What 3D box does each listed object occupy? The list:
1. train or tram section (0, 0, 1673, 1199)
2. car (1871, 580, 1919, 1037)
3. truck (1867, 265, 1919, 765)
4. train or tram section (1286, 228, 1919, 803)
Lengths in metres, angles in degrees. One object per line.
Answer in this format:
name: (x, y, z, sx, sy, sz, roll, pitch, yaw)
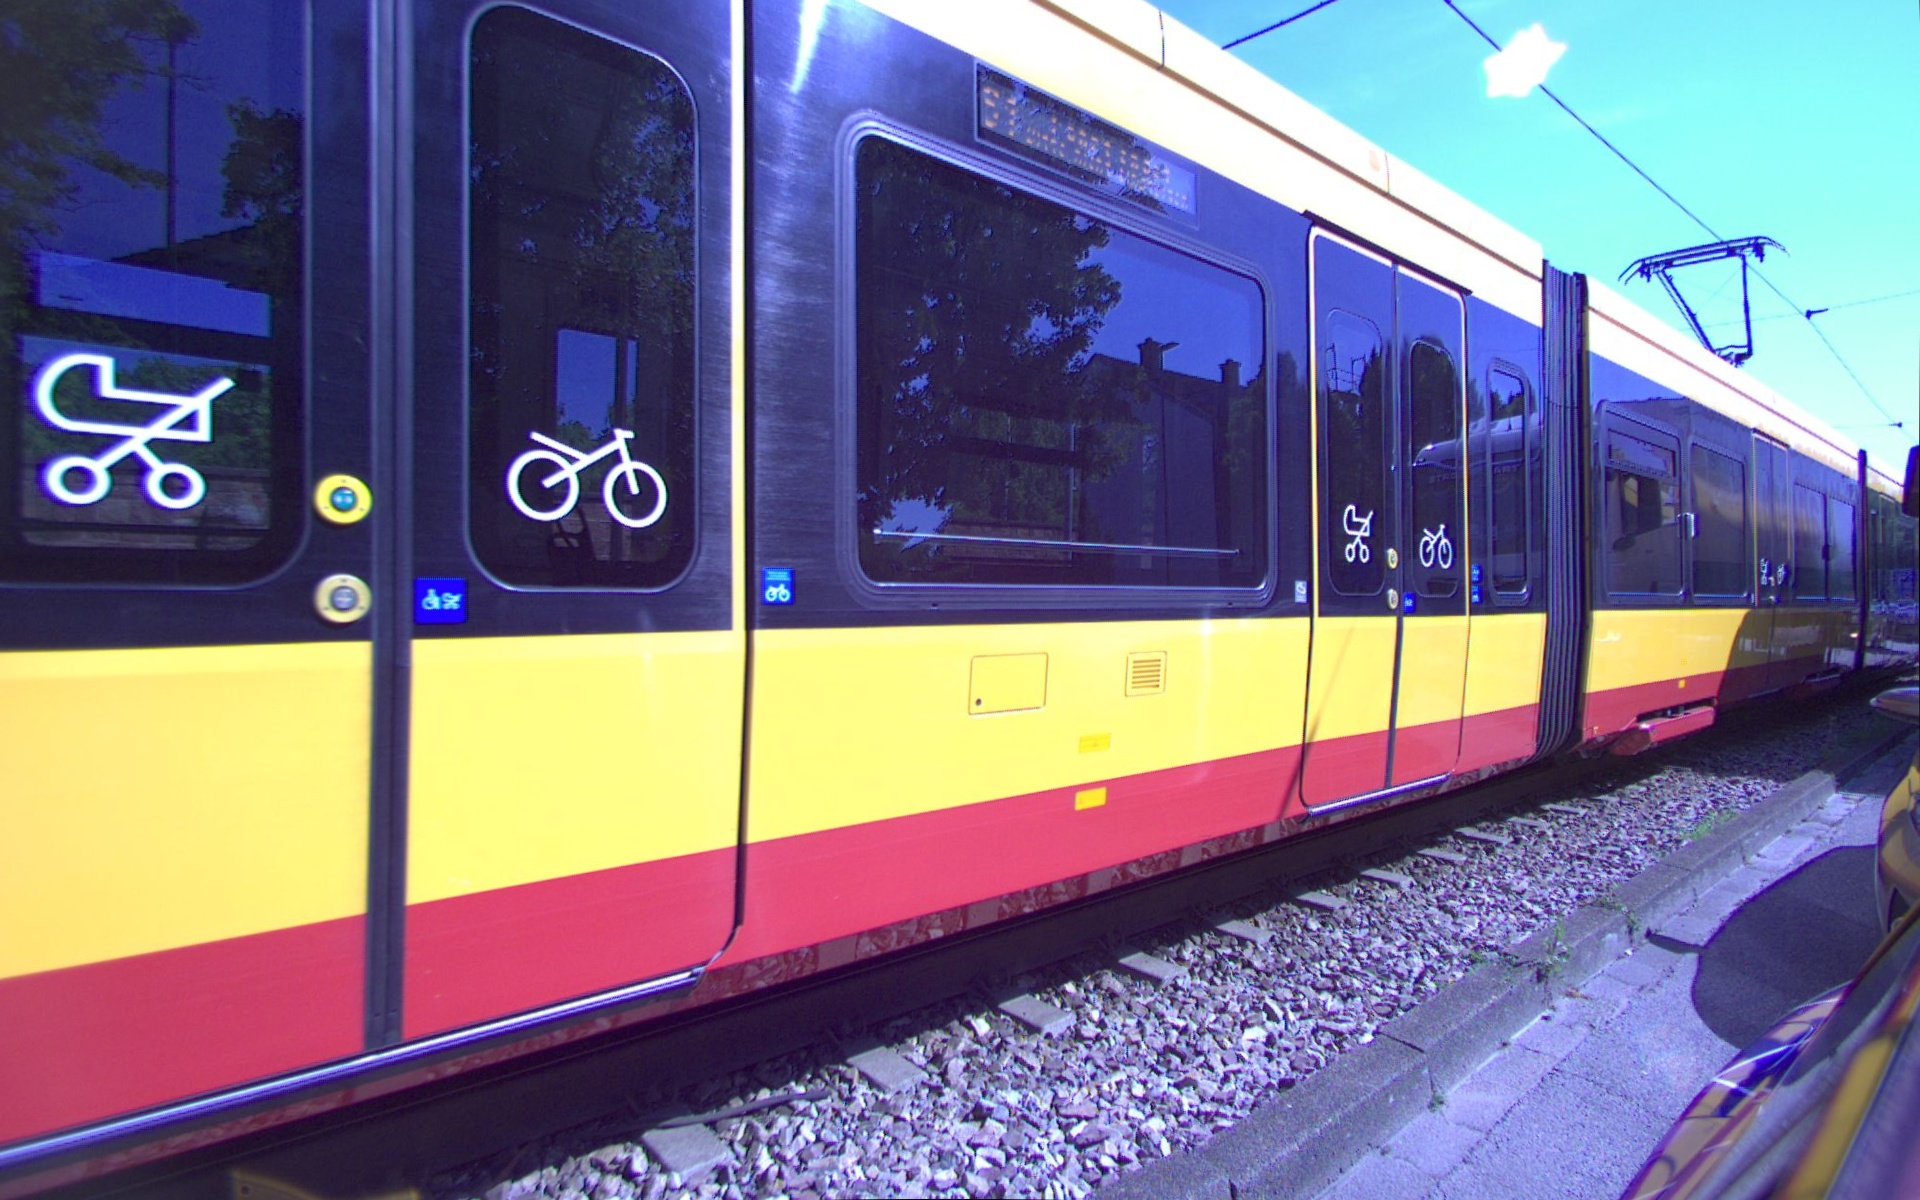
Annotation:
train or tram section: (-1.866, -0.469, 2.771, 15.038, 3.698, 2.674, -1, 1, -41)
car: (5.056, 0.671, 3.982, 3.960, 1.465, 1.718, 0, 1, -41)
truck: (14.089, -0.718, 11.898, 14.036, 4.121, 3.388, 0, 0, -41)
train or tram section: (10.626, -0.665, 13.681, 18.629, 3.698, 2.677, -1, 1, -41)
